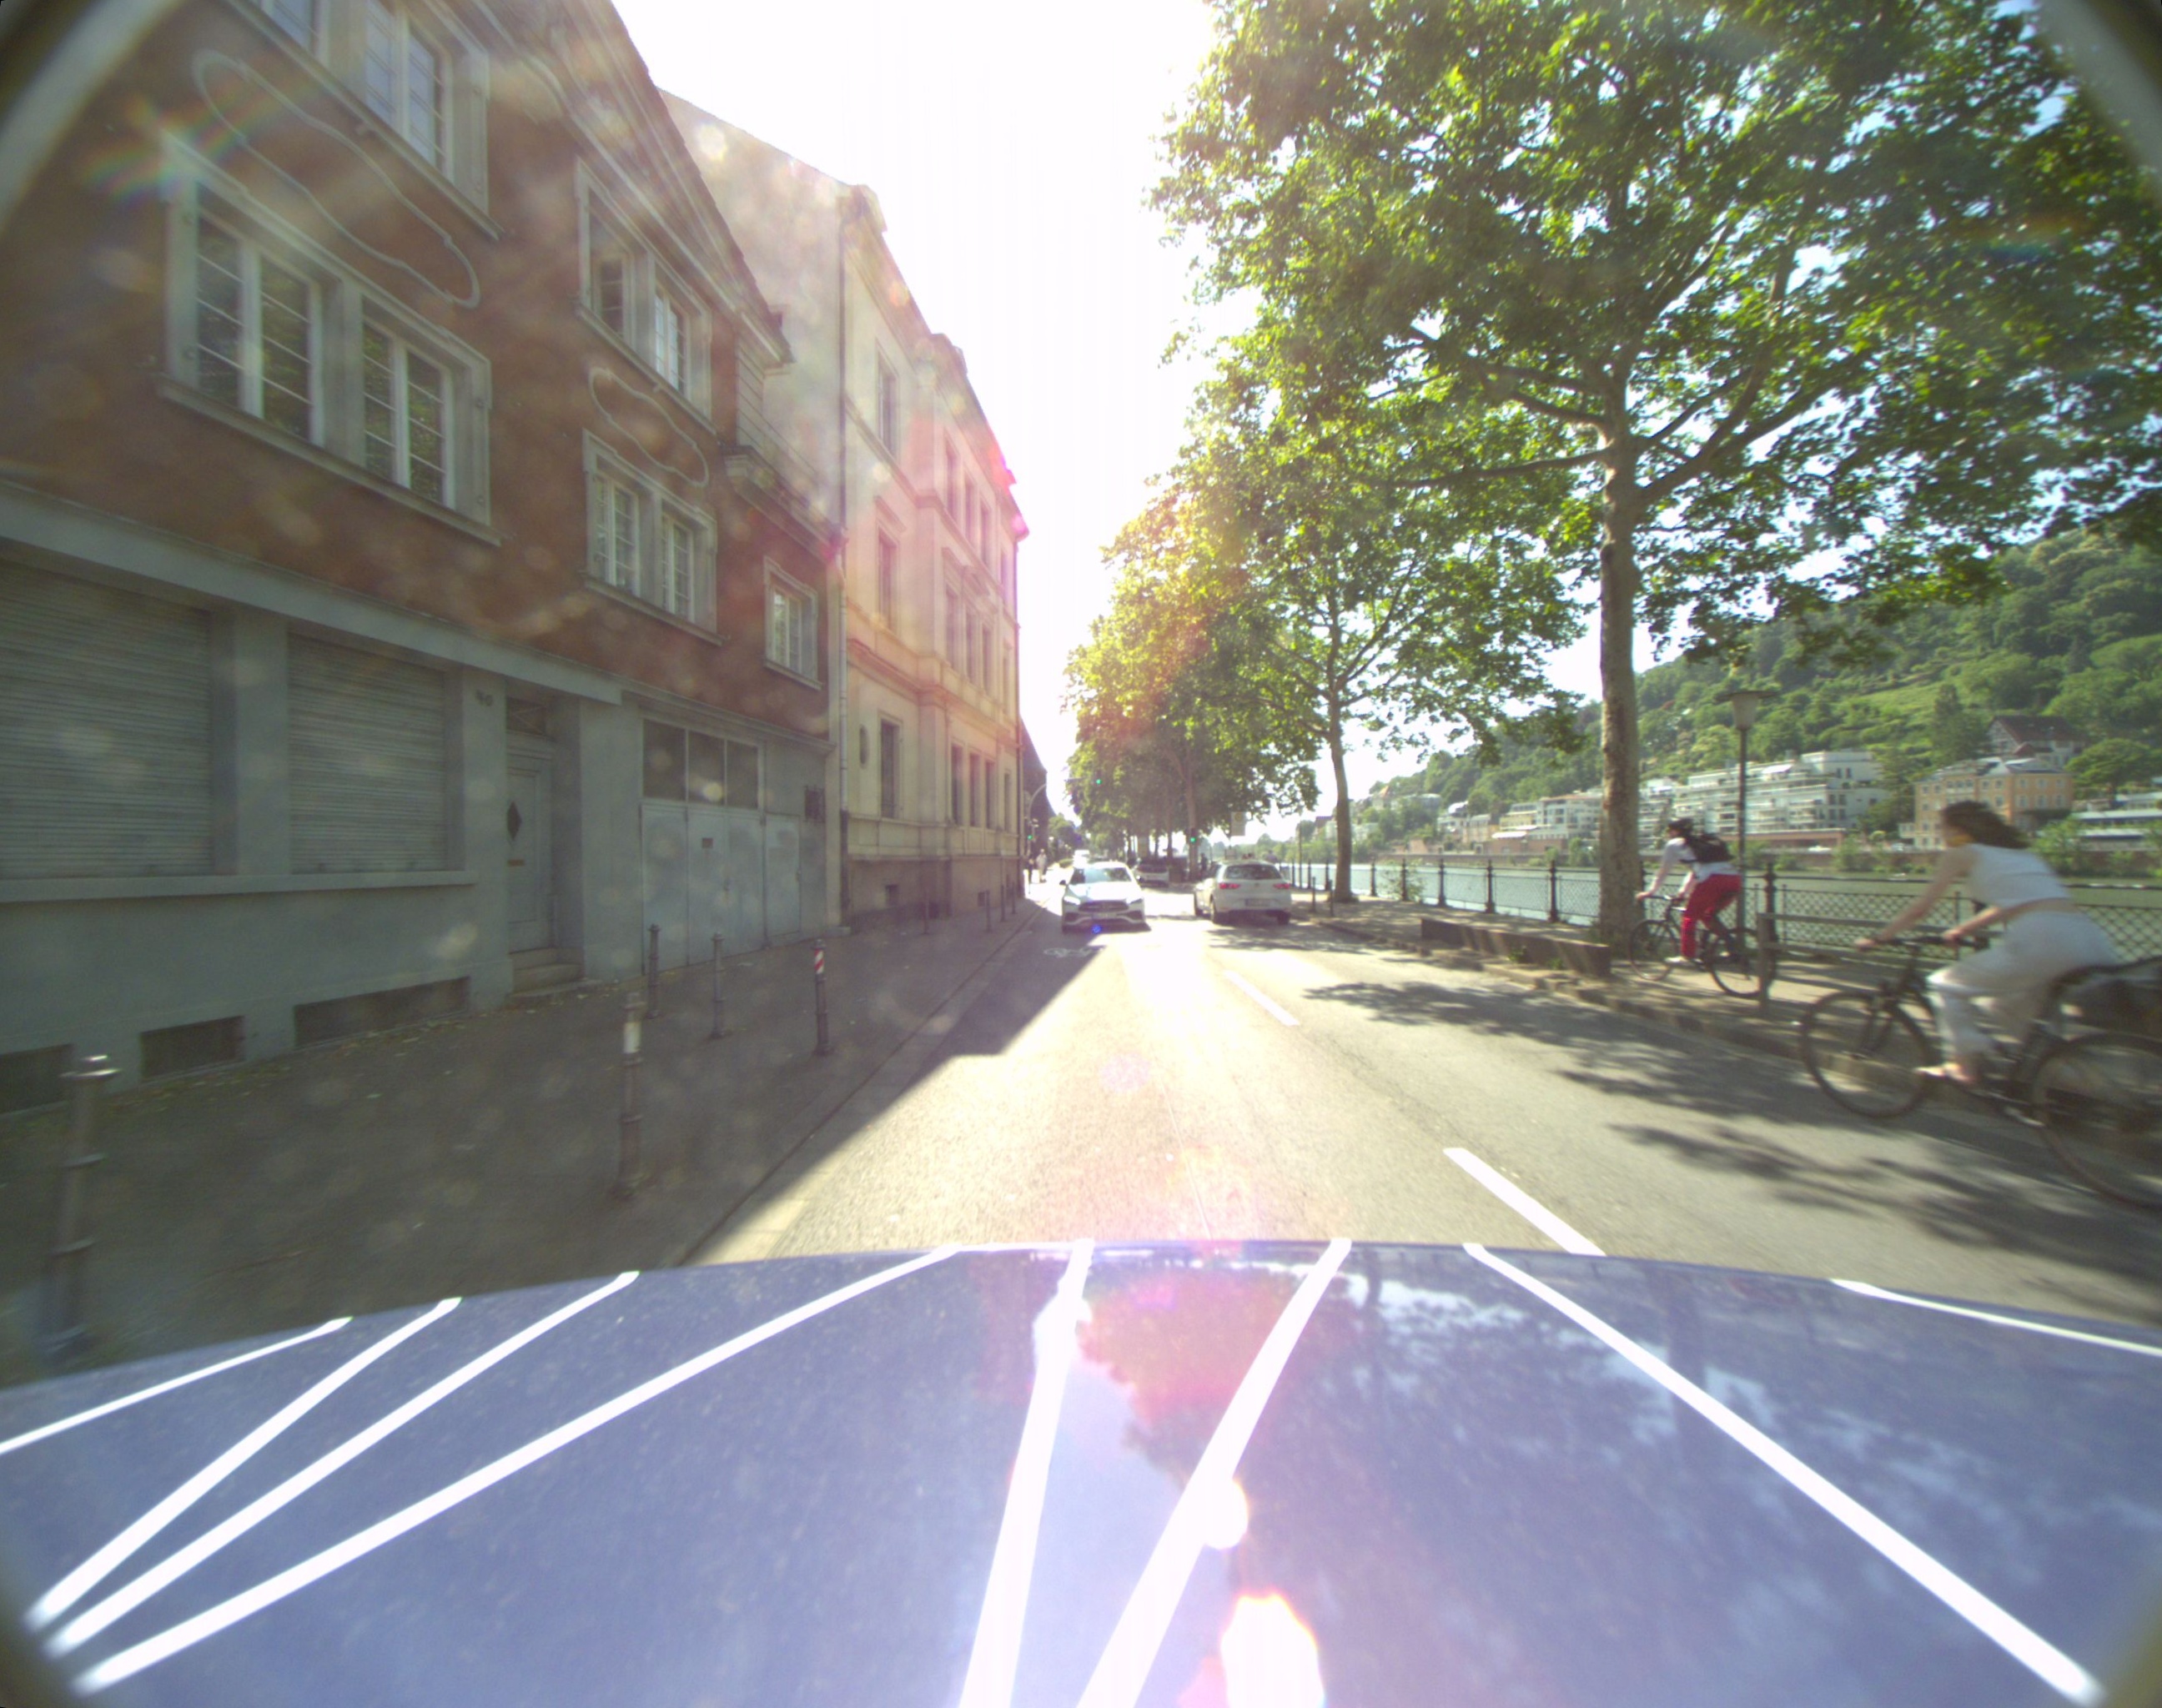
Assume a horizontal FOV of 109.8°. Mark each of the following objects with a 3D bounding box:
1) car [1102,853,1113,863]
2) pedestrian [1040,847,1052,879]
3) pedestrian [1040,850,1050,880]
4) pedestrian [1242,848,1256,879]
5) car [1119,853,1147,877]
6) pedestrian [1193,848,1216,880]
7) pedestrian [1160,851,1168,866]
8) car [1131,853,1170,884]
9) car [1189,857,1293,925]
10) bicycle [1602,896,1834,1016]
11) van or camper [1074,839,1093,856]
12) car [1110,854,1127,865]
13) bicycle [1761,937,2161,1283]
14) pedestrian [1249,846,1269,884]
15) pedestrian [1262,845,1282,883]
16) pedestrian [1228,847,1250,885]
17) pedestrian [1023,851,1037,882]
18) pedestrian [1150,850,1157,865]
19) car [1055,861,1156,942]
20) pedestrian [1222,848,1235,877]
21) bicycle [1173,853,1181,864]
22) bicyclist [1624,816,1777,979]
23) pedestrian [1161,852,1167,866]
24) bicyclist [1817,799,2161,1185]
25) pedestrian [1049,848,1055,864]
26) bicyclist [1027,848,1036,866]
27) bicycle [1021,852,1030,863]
[{"bbox_3d":[4.149,0.577,119.261,1.705,1.509,4.405,-1,0,2],"label":"car"},{"bbox_3d":[-2.009,0.531,43.957,0.618,1.841,0.730,0,1,1],"label":"pedestrian"},{"bbox_3d":[-2.068,0.623,43.281,0.528,1.702,0.665,0,1,0],"label":"pedestrian"},{"bbox_3d":[9.412,0.516,42.572,0.620,1.690,0.696,-1,1,0],"label":"pedestrian"},{"bbox_3d":[3.651,0.734,53.781,1.705,1.509,4.405,2,1,2],"label":"car"},{"bbox_3d":[6.973,0.556,42.749,1.022,1.762,0.770,0,1,41],"label":"pedestrian"},{"bbox_3d":[9.639,0.534,88.082,0.793,1.673,0.709,0,1,0],"label":"pedestrian"},{"bbox_3d":[3.613,0.728,40.125,1.739,1.509,4.404,0,0,1],"label":"car"},{"bbox_3d":[3.749,0.841,18.506,1.705,1.436,4.092,-2,-1,1],"label":"car"},{"bbox_3d":[6.367,0.967,7.773,0.756,0.973,1.953,0,0,1],"label":"bicycle"},{"bbox_3d":[0.350,-0.915,103.385,2.437,2.271,6.203,0,0,0],"label":"van or camper"},{"bbox_3d":[4.733,0.676,96.672,1.845,1.262,4.261,3,0,-1],"label":"car"},{"bbox_3d":[4.363,1.028,3.528,0.742,1.071,1.954,-2,0,4],"label":"bicycle"},{"bbox_3d":[8.162,0.510,34.857,0.654,1.703,0.793,1,1,-1],"label":"pedestrian"},{"bbox_3d":[9.030,0.472,35.903,0.713,1.754,0.972,0,1,0],"label":"pedestrian"},{"bbox_3d":[7.248,0.525,34.783,0.837,1.704,0.782,0,1,0],"label":"pedestrian"},{"bbox_3d":[-2.820,0.690,42.083,0.717,1.666,0.682,0,1,0],"label":"pedestrian"},{"bbox_3d":[8.527,0.396,89.022,0.760,1.720,0.730,0,1,0],"label":"pedestrian"},{"bbox_3d":[0.495,0.933,17.024,1.875,1.416,4.744,-3,0,0],"label":"car"},{"bbox_3d":[8.339,0.490,43.001,0.495,1.608,0.991,0,1,0],"label":"pedestrian"},{"bbox_3d":[9.957,0.472,78.658,0.564,1.146,1.844,-2,1,0],"label":"bicycle"},{"bbox_3d":[6.376,0.423,7.892,0.721,1.574,1.089,0,1,2],"label":"bicyclist"},{"bbox_3d":[9.599,0.554,87.807,0.633,1.618,0.553,0,1,0],"label":"pedestrian"},{"bbox_3d":[4.337,0.558,3.537,0.768,1.522,1.025,-2,-1,2],"label":"bicyclist"},{"bbox_3d":[-3.405,0.232,89.019,0.556,1.844,1.023,-1,0,4],"label":"pedestrian"},{"bbox_3d":[-4.340,0.262,66.758,0.711,1.619,0.886,-1,1,-10],"label":"bicyclist"},{"bbox_3d":[-5.939,0.364,81.341,0.845,1.146,1.844,0,1,0],"label":"bicycle"}]
